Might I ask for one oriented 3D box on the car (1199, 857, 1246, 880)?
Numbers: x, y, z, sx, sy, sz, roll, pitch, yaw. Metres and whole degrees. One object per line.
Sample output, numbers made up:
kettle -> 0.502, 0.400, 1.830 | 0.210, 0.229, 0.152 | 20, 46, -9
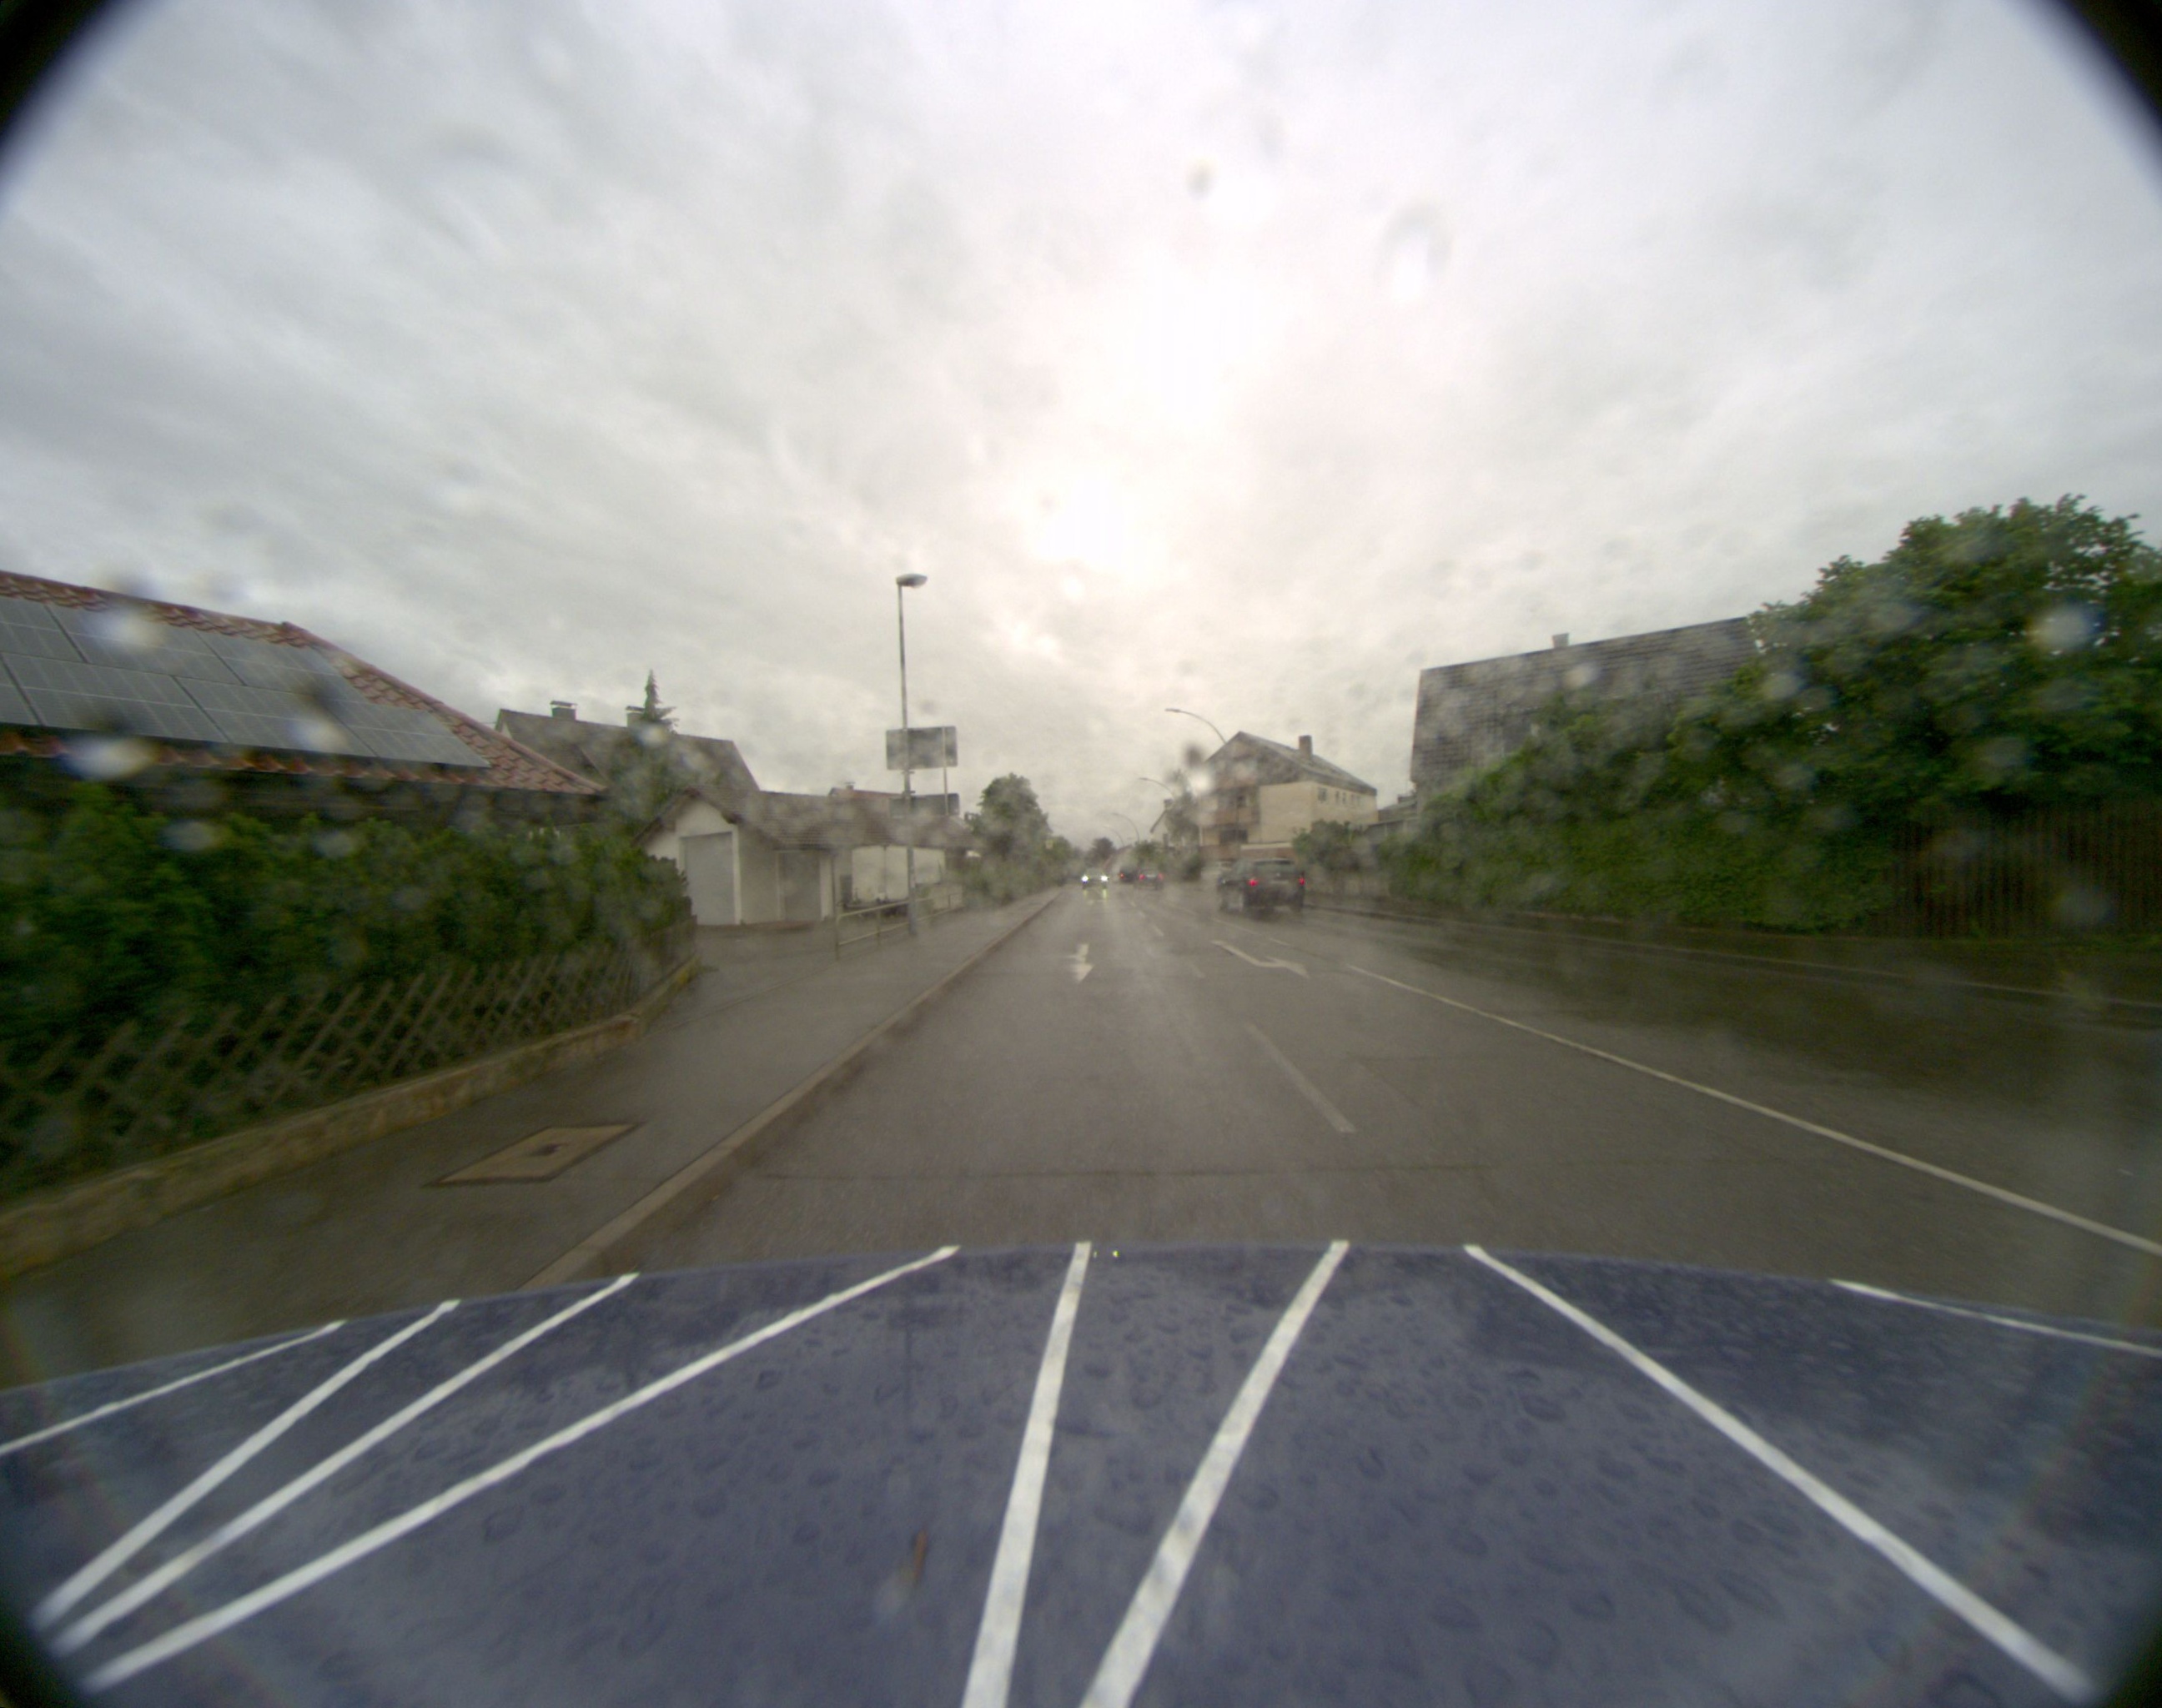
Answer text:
car -> 10.340, 1.029, 55.384 | 1.864, 1.510, 4.008 | -2, 0, 34

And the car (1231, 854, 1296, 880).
car -> 11.876, 0.851, 49.471 | 3.661, 1.510, 1.758 | -2, 0, 36

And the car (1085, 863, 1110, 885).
car -> 1.169, 1.431, 55.425 | 1.687, 1.486, 3.939 | -2, 0, 1

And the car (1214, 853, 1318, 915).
car -> 5.558, 0.852, 23.454 | 1.999, 1.658, 4.416 | -2, 0, -1

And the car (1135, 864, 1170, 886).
car -> 4.896, 1.419, 52.282 | 1.998, 1.396, 4.624 | -1, 0, 1

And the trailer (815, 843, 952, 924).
trailer -> -6.701, 0.935, 26.287 | 1.645, 2.502, 4.712 | -3, 0, 30
